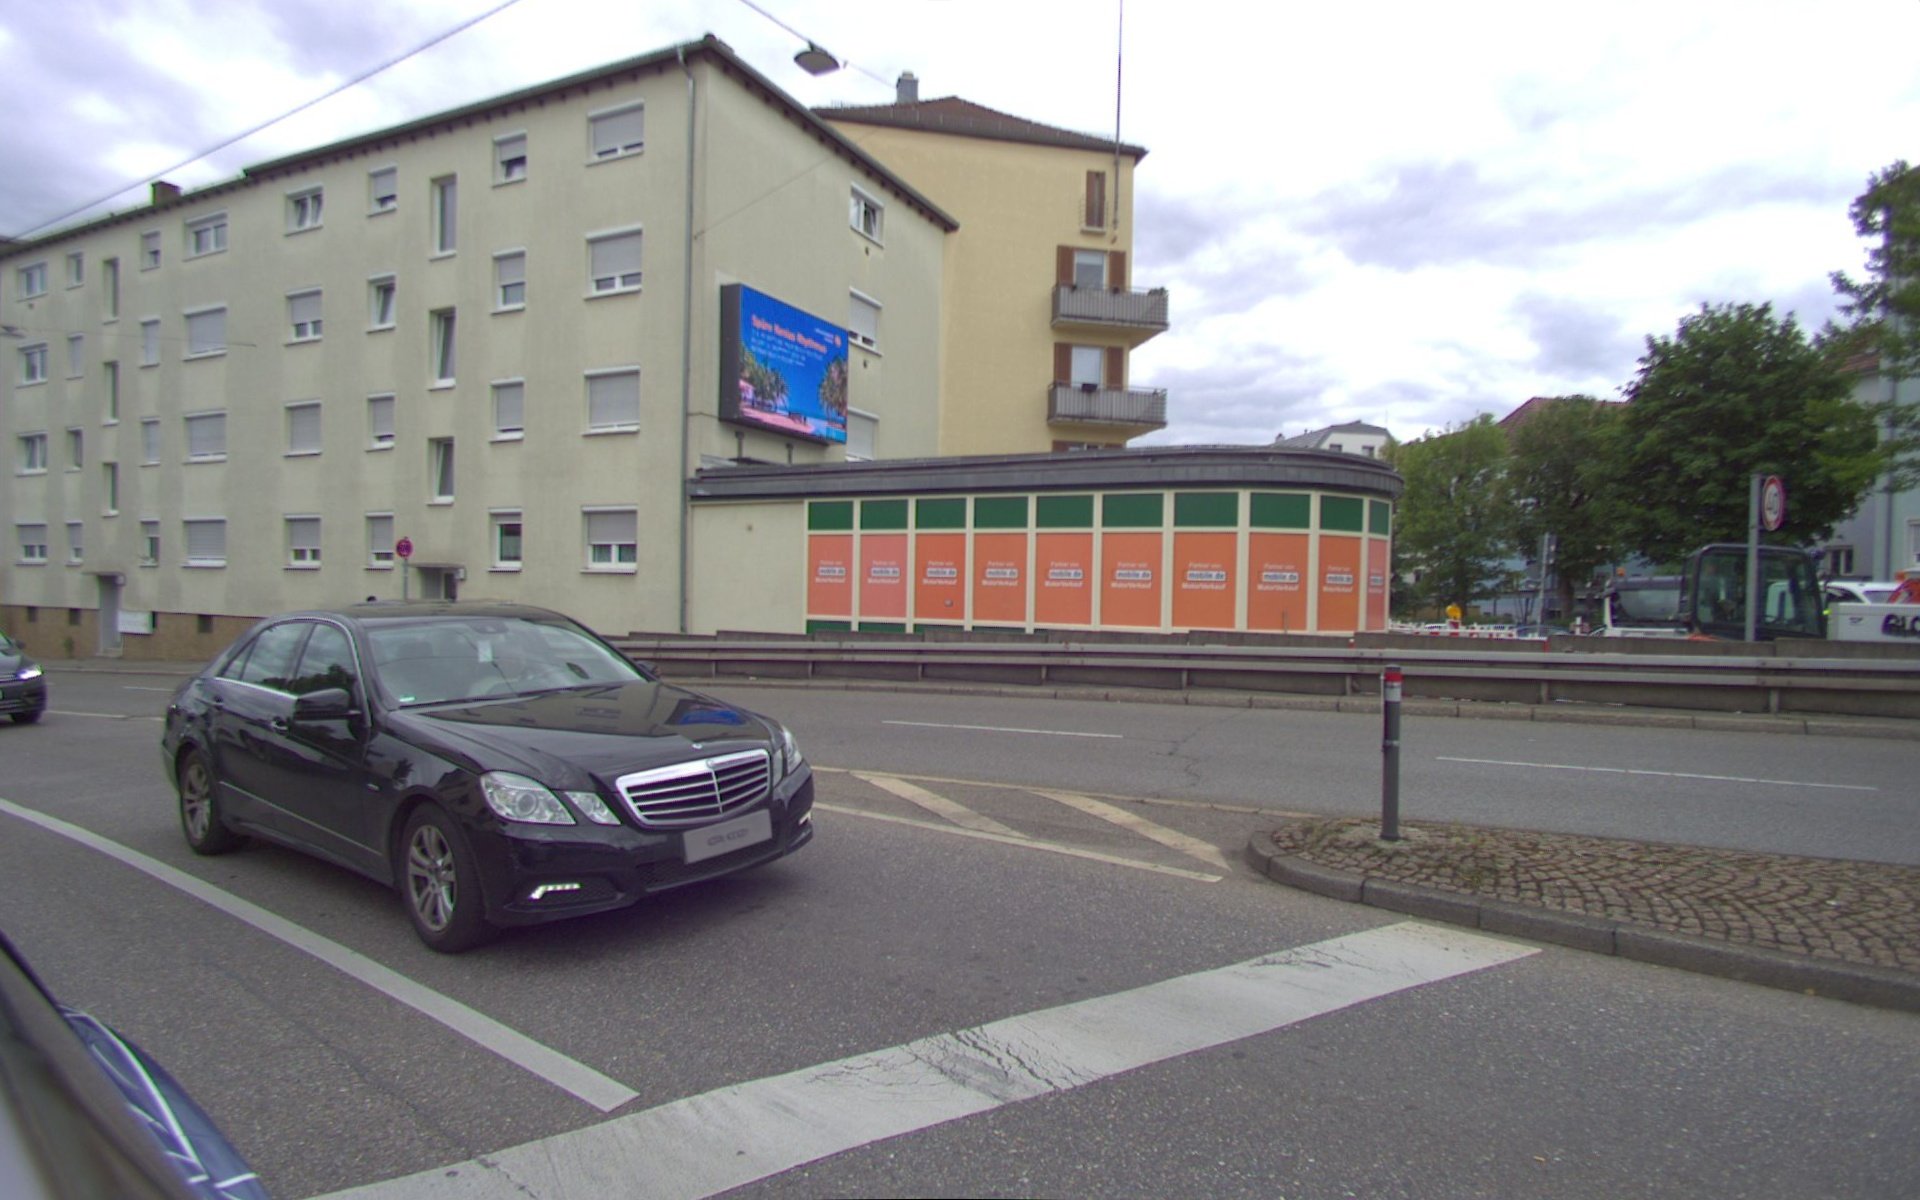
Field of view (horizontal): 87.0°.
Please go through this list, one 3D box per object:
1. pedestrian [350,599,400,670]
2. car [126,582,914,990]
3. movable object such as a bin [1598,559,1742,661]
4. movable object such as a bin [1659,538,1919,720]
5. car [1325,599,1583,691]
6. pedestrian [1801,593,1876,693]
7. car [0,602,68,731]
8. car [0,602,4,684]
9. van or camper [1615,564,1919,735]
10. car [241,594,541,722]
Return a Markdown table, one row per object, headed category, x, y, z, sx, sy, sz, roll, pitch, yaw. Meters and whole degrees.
| category | x | y | z | sx | sy | sz | roll | pitch | yaw |
| --- | --- | --- | --- | --- | --- | --- | --- | --- | --- |
| pedestrian | -13.803 | 0.797 | 23.880 | 0.774 | 1.649 | 0.684 | -1 | 0 | 25 |
| car | -2.766 | 0.677 | 5.806 | 4.832 | 1.439 | 1.976 | -1 | 0 | 36 |
| movable object such as a bin | 16.852 | 0.198 | 23.848 | 2.393 | 2.087 | 6.172 | -1 | 0 | 39 |
| movable object such as a bin | 10.623 | 0.333 | 12.022 | 3.506 | 2.029 | 1.371 | -1 | -1 | 18 |
| car | 9.309 | 0.792 | 19.223 | 3.935 | 1.564 | 2.004 | -1 | 0 | -10 |
| pedestrian | 12.491 | 0.594 | 14.397 | 0.591 | 1.374 | 0.627 | -1 | 0 | -30 |
| car | -14.271 | 0.873 | 13.621 | 4.455 | 1.623 | 1.847 | -1 | 1 | 26 |
| car | -22.608 | 0.945 | 21.619 | 4.698 | 1.727 | 1.891 | -1 | 0 | 29 |
| van or camper | 14.295 | 0.675 | 16.692 | 2.647 | 2.356 | 6.013 | -1 | 0 | -5 |
| car | -7.882 | 0.728 | 13.967 | 4.018 | 1.543 | 1.776 | -1 | 0 | 29 |
